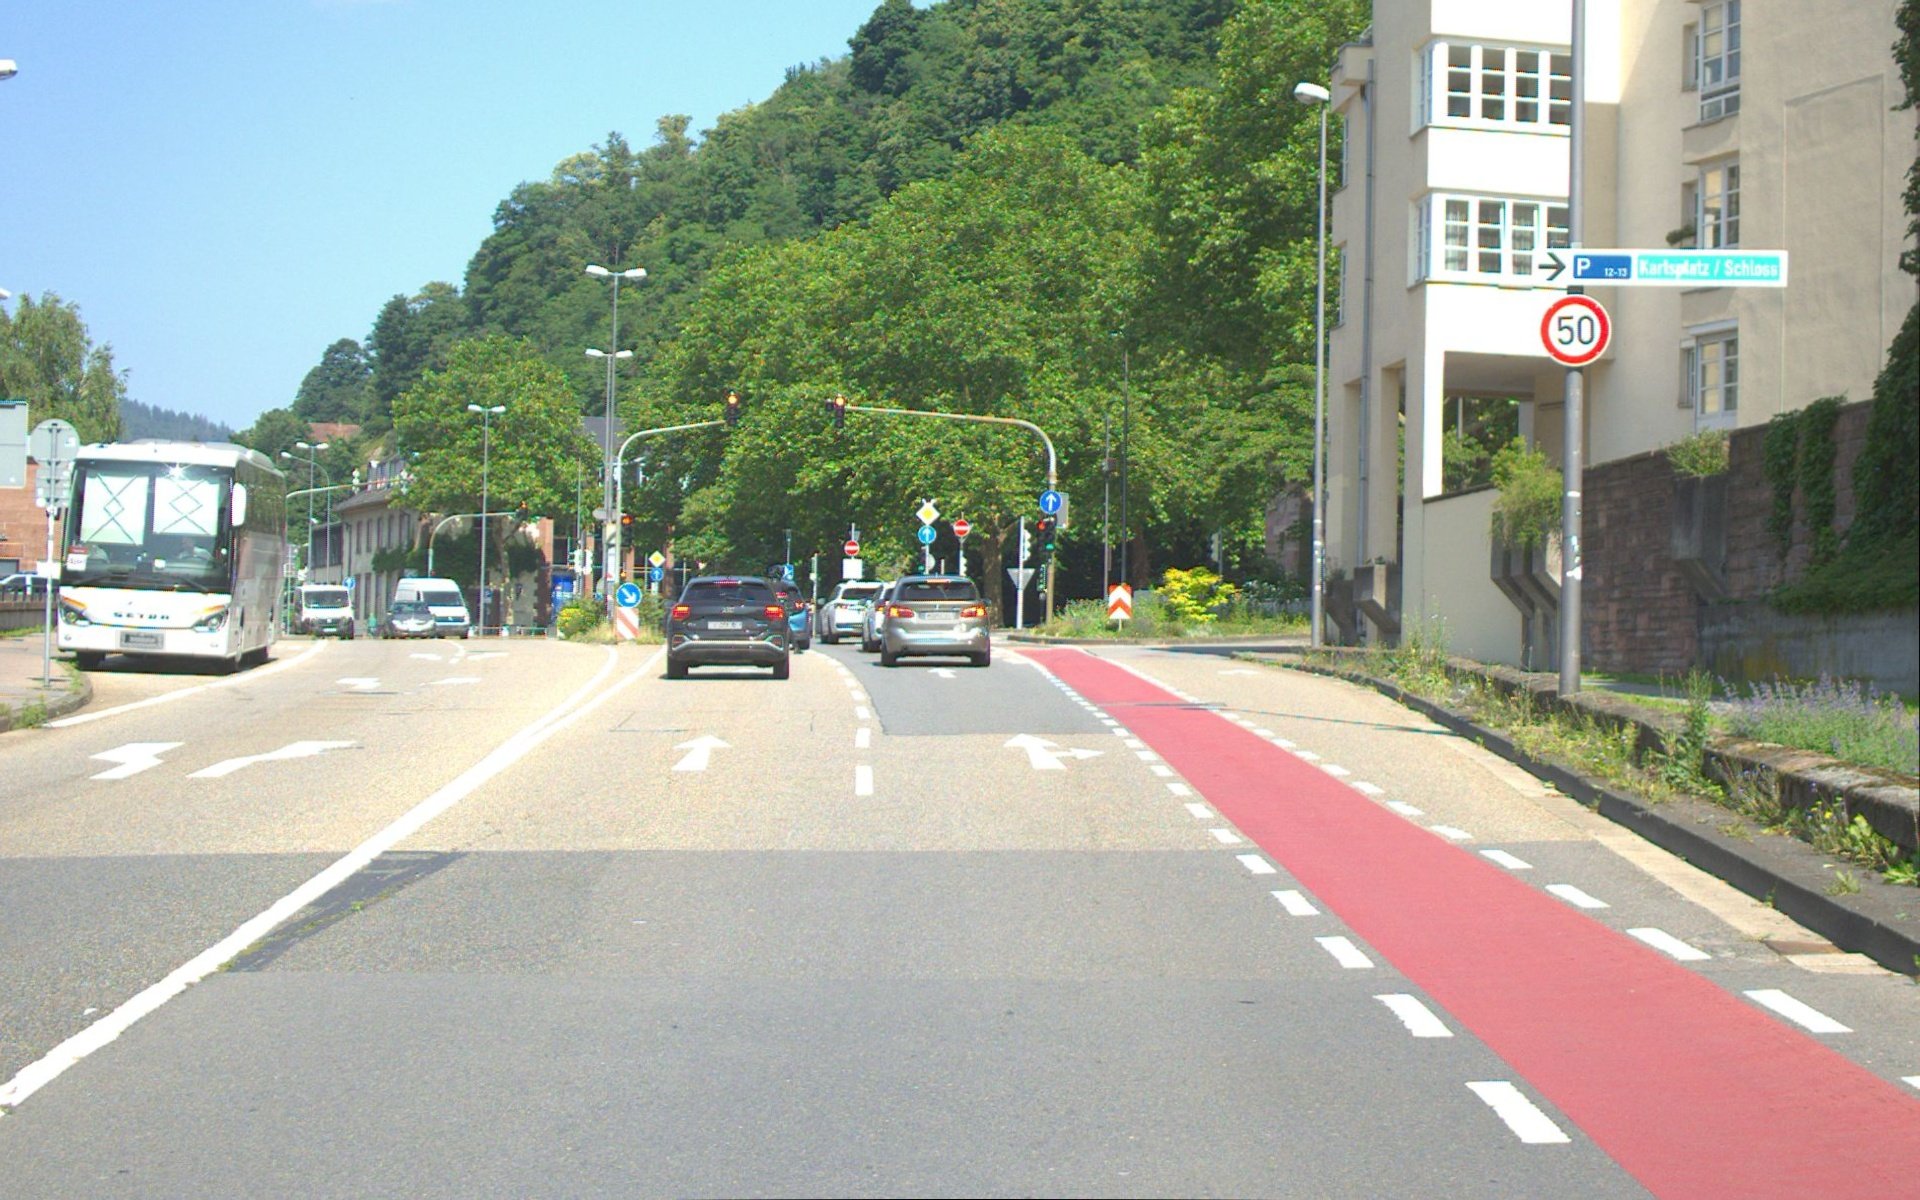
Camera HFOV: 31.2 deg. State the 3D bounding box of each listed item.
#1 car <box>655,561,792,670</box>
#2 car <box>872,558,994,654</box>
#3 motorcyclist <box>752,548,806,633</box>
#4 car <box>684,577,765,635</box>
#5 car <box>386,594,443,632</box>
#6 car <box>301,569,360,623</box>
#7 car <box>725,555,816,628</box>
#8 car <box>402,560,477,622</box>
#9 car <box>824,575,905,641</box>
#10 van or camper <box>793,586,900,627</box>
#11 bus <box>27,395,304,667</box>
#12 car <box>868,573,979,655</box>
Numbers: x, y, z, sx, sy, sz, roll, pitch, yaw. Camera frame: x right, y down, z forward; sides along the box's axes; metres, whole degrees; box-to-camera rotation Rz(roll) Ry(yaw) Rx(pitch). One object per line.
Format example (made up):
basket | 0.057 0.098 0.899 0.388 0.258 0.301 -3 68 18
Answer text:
car | -3.471 0.225 51.104 1.869 1.508 4.151 2 0 -2
car | -0.500 0.102 58.678 1.888 1.516 4.306 2 0 -2
motorcyclist | -3.630 -0.194 68.985 1.075 1.678 1.156 0 0 -3
car | -5.710 0.136 83.032 1.866 1.354 4.001 0 0 -5
car | -21.733 0.509 136.830 1.993 1.427 4.168 0 1 -13
car | -25.192 -0.181 137.535 2.213 2.071 5.045 0 1 -12
car | -4.176 -0.198 75.421 1.866 1.557 4.001 0 0 -5
car | -22.313 -0.383 147.301 2.383 2.568 6.057 0 0 -16
car | -2.344 0.188 83.108 1.785 1.527 4.737 0 0 -4
van or camper | -5.251 0.300 159.022 4.545 1.895 1.999 0 0 14
bus | -13.018 -1.077 57.486 2.956 3.788 13.247 5 0 -7
car | -0.763 0.266 67.906 1.993 1.528 4.859 1 0 -3
